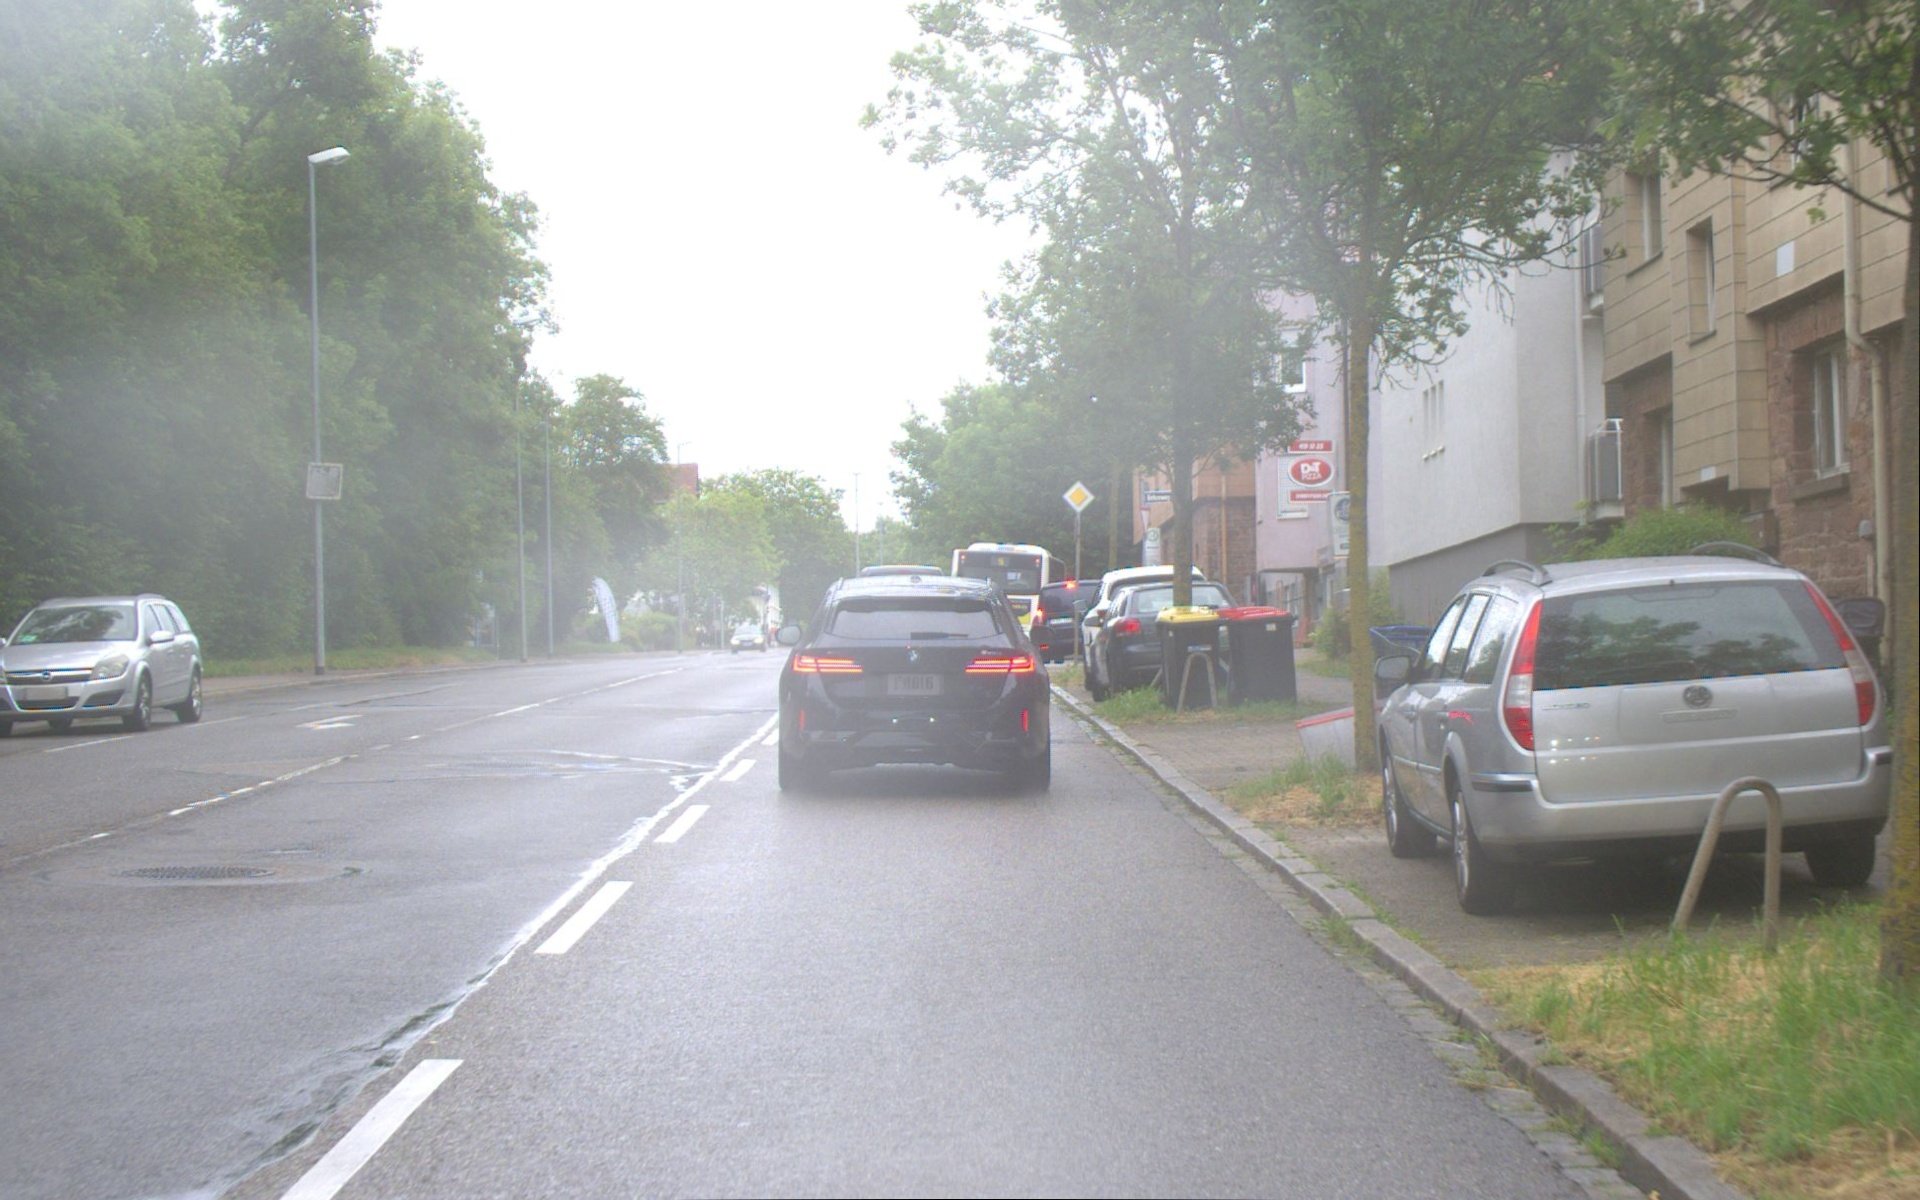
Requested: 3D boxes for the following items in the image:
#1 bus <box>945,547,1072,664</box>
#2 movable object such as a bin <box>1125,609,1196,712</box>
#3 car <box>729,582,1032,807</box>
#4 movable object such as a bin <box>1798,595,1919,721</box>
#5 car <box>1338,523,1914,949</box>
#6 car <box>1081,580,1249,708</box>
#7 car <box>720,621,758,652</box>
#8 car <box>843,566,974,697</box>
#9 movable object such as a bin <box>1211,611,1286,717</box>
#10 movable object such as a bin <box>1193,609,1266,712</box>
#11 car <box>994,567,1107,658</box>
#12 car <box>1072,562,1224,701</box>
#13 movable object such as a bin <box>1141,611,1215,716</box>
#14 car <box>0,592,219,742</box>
[{"bbox_3d":[1.344,0.100,89.934,2.623,2.838,8.287,-2,0,5],"label":"bus"},{"bbox_3d":[2.144,0.638,36.838,0.619,1.046,0.822,-3,1,-3],"label":"movable object such as a bin"},{"bbox_3d":[-0.514,0.626,25.044,1.993,1.448,4.000,2,0,1],"label":"car"},{"bbox_3d":[7.127,0.455,27.298,0.700,0.962,0.941,1,1,0],"label":"movable object such as a bin"},{"bbox_3d":[2.918,0.499,16.056,1.702,1.579,4.643,-4,1,0],"label":"car"},{"bbox_3d":[2.441,0.512,41.703,1.641,1.444,3.998,-1,0,-2],"label":"car"},{"bbox_3d":[-11.811,1.919,183.596,1.770,1.528,4.000,-2,0,-1],"label":"car"},{"bbox_3d":[-0.802,0.482,54.797,1.993,2.007,4.000,0,0,0],"label":"car"},{"bbox_3d":[3.011,0.662,35.925,0.619,1.046,0.822,-3,1,-3],"label":"movable object such as a bin"},{"bbox_3d":[2.883,0.645,36.847,0.619,1.046,0.822,-3,1,-3],"label":"movable object such as a bin"},{"bbox_3d":[2.104,0.300,78.442,1.927,1.886,4.759,-4,-1,8],"label":"car"},{"bbox_3d":[2.533,0.391,47.209,1.824,1.766,4.541,-2,0,0],"label":"car"},{"bbox_3d":[2.280,0.655,35.940,0.619,1.046,0.822,-3,1,-3],"label":"movable object such as a bin"},{"bbox_3d":[-9.477,0.697,37.798,1.689,1.478,4.452,-3,0,-1],"label":"car"}]
